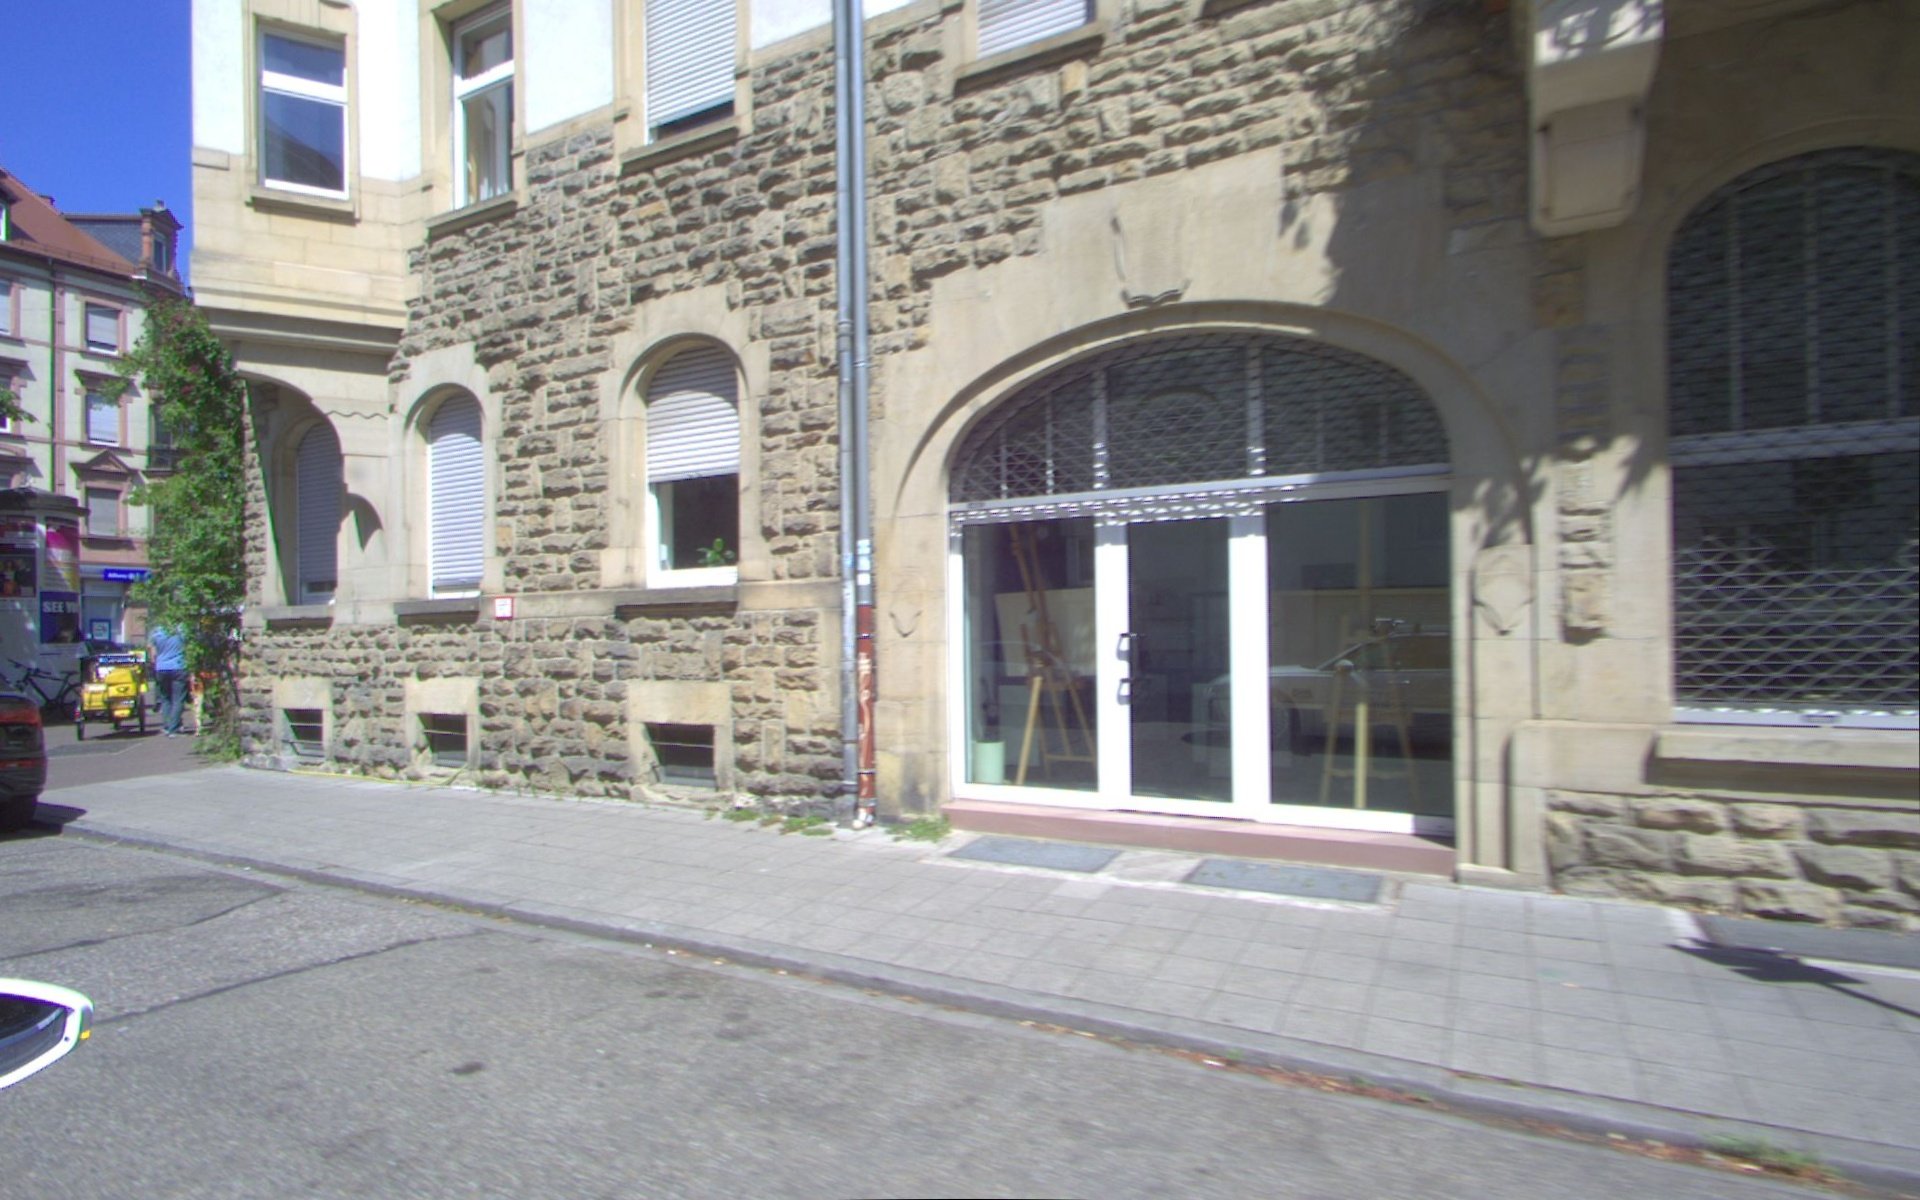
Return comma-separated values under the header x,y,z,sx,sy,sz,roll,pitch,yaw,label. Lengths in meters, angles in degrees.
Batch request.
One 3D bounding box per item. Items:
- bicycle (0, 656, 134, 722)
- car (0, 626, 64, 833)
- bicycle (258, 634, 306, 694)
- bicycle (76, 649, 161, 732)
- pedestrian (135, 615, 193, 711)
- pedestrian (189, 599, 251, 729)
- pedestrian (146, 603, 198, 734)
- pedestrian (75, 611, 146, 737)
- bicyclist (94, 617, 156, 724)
x,y,z,sx,sy,sz,roll,pitch,yaw,label
-16.062,1.555,17.902,0.624,1.052,1.898,-1,-1,29,bicycle
-9.653,1.035,8.386,4.279,1.616,1.736,-1,-4,27,car
-12.734,1.178,18.840,0.541,1.052,1.829,-1,-1,-28,bicycle
-13.333,1.385,15.928,0.786,1.184,2.562,0,-2,-35,bicycle
-15.372,1.204,19.355,0.572,1.817,0.749,-1,-1,-9,pedestrian
-11.232,0.960,15.196,0.873,1.903,0.596,-2,-2,43,pedestrian
-11.690,1.006,14.852,0.647,1.892,0.515,-2,-2,43,pedestrian
-12.317,1.054,14.521,0.605,1.774,0.637,-1,-1,32,pedestrian
-13.382,1.109,16.063,0.671,1.669,0.658,0,-1,-33,bicyclist
